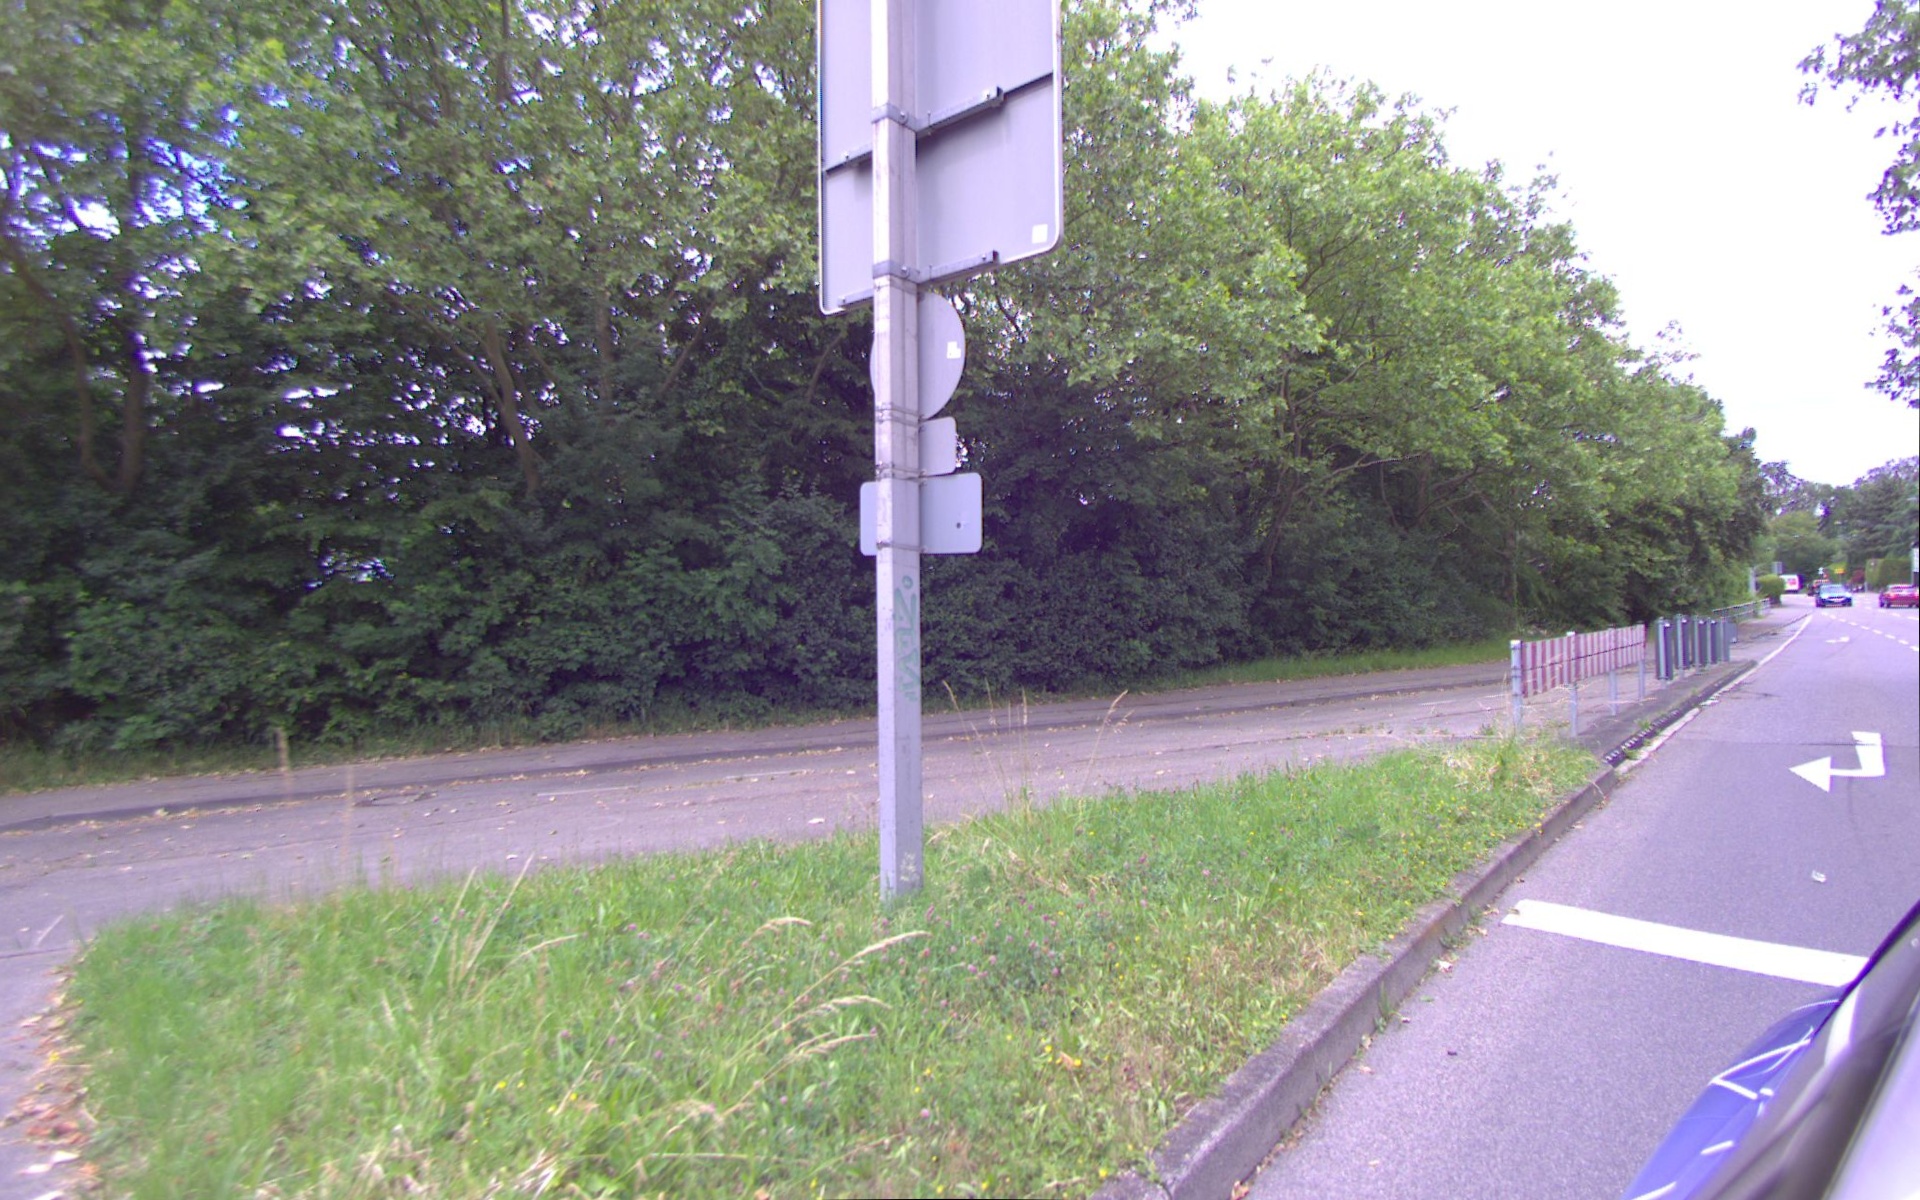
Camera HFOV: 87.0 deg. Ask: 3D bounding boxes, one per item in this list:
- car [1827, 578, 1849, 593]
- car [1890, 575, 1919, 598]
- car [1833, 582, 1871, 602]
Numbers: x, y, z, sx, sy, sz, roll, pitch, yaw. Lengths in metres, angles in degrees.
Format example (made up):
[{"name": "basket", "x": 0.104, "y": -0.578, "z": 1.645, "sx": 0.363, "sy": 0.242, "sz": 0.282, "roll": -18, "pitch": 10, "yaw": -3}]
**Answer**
[{"name": "car", "x": 90.121, "y": -1.475, "z": 103.866, "sx": 1.666, "sy": 1.565, "sz": 3.940, "roll": -1, "pitch": 0, "yaw": 42}, {"name": "car", "x": 65.169, "y": -0.943, "z": 69.313, "sx": 1.676, "sy": 1.524, "sz": 3.782, "roll": 1, "pitch": 1, "yaw": 35}, {"name": "car", "x": 66.822, "y": -0.629, "z": 75.860, "sx": 1.787, "sy": 1.447, "sz": 4.093, "roll": 1, "pitch": 1, "yaw": 36}]
